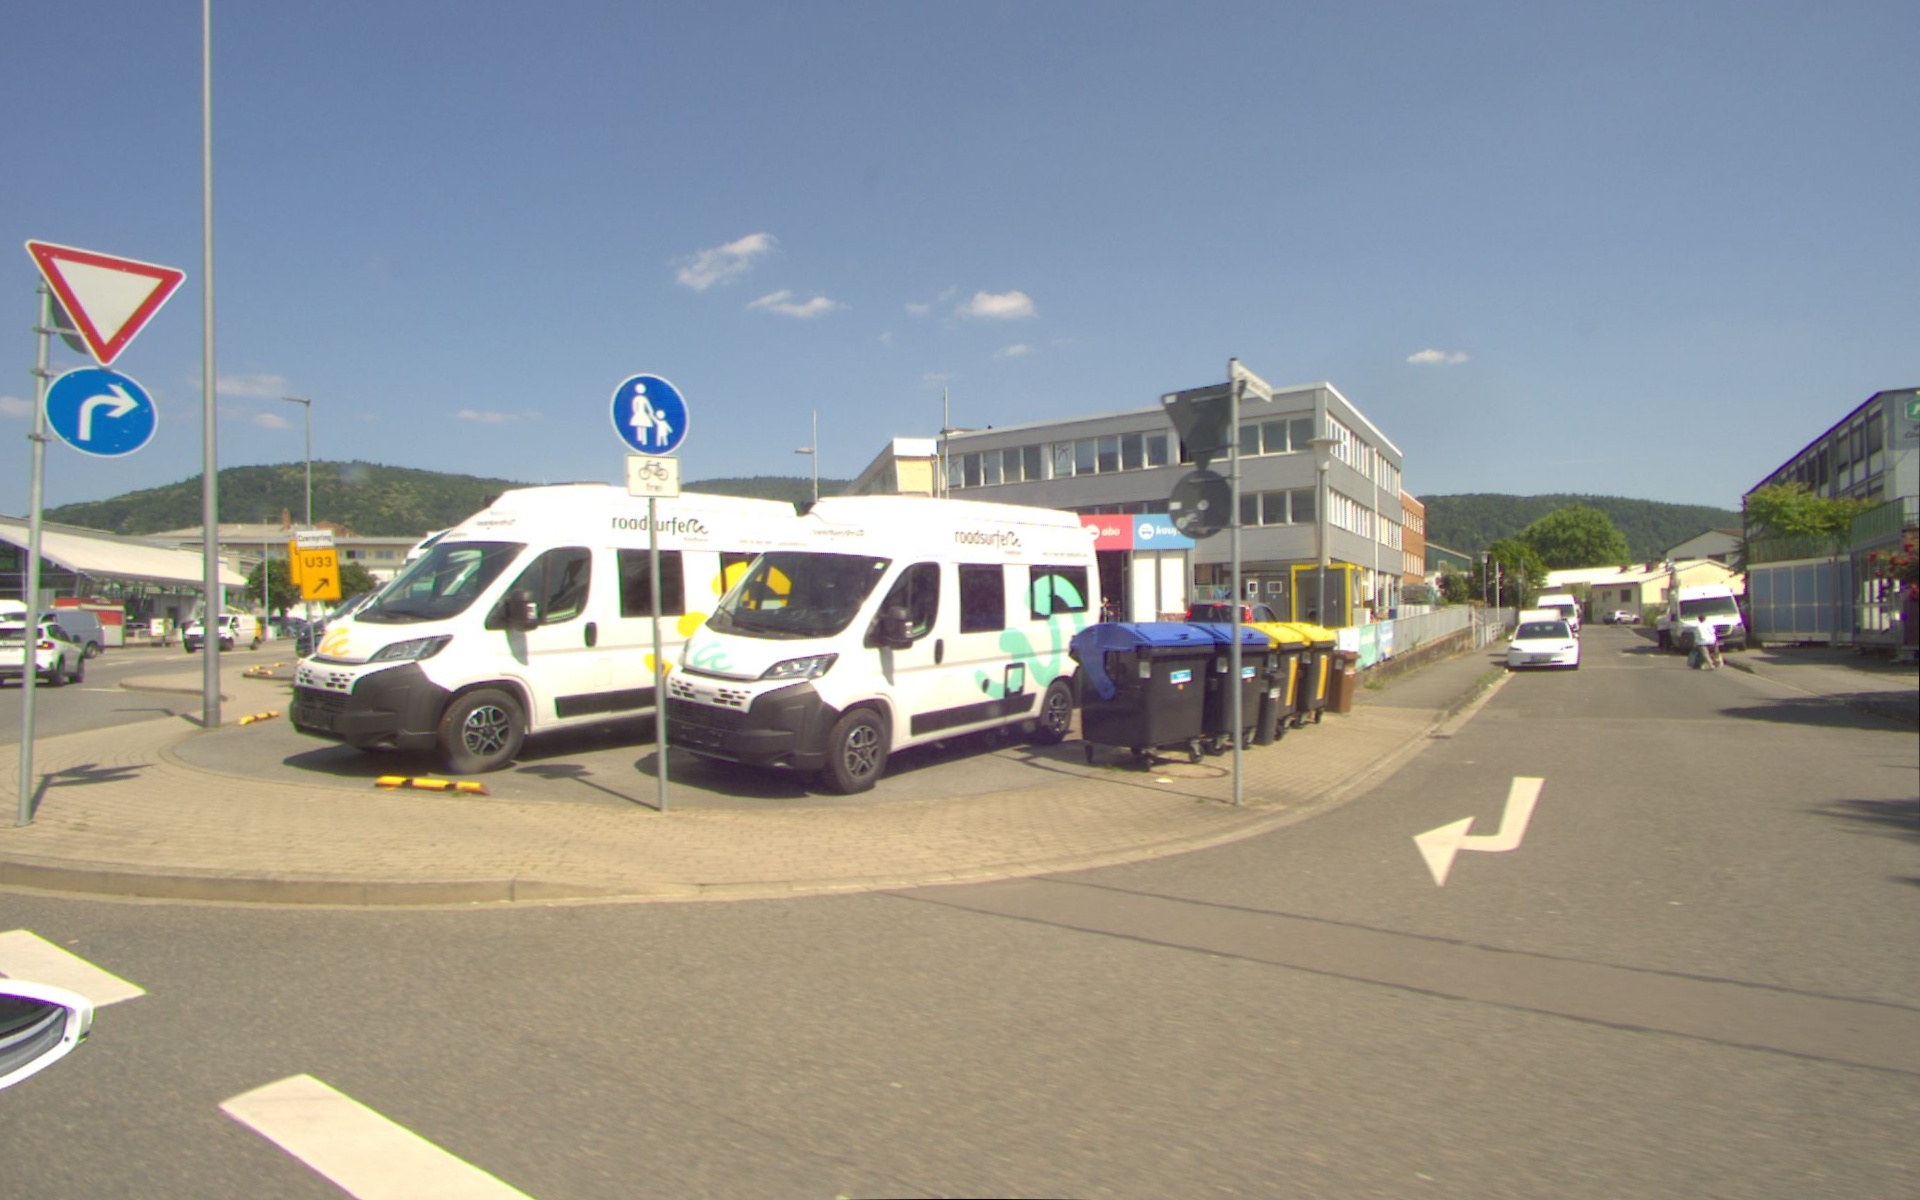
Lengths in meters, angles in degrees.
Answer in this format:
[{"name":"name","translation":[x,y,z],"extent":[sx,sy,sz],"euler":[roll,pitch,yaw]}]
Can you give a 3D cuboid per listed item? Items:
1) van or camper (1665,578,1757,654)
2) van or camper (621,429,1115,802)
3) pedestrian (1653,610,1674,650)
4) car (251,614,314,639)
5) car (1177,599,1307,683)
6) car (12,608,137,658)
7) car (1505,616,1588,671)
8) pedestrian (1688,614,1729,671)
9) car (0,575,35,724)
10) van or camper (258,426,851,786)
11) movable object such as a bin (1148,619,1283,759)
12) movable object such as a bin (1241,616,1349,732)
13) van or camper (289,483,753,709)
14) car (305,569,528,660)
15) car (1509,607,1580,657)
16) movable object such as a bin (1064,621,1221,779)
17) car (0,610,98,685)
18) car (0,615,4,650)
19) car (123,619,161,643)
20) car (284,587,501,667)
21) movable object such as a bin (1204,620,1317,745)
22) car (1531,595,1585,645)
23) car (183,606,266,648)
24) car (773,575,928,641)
[{"name":"van or camper","translation":[29.240,0.657,39.209],"extent":[2.313,2.714,6.708],"euler":[-1,-1,32]},{"name":"van or camper","translation":[-0.566,0.160,10.493],"extent":[2.020,2.851,5.491],"euler":[2,0,35]},{"name":"pedestrian","translation":[30.424,1.300,43.327],"extent":[0.699,1.709,0.650],"euler":[0,0,32]},{"name":"car","translation":[-55.475,2.157,82.067],"extent":[4.237,2.040,1.988],"euler":[1,-1,-34]},{"name":"car","translation":[6.007,0.794,21.047],"extent":[1.788,1.535,3.880],"euler":[2,1,28]},{"name":"car","translation":[-36.641,1.342,41.607],"extent":[1.898,1.960,4.823],"euler":[0,-1,-14]},{"name":"car","translation":[17.990,1.280,30.633],"extent":[1.868,1.572,3.976],"euler":[-1,-1,35]},{"name":"pedestrian","translation":[21.322,1.191,28.542],"extent":[0.871,1.599,0.786],"euler":[0,-1,32]},{"name":"car","translation":[-14.103,0.638,11.743],"extent":[2.127,2.039,5.018],"euler":[0,-1,-4]},{"name":"van or camper","translation":[-3.830,0.060,10.806],"extent":[2.062,2.811,5.795],"euler":[0,0,34]},{"name":"movable object such as a bin","translation":[2.961,0.973,11.579],"extent":[1.008,1.476,1.279],"euler":[2,1,42]},{"name":"movable object such as a bin","translation":[4.860,1.024,14.505],"extent":[1.051,1.552,1.324],"euler":[2,1,39]},{"name":"van or camper","translation":[-6.830,-0.077,16.859],"extent":[2.301,2.985,7.047],"euler":[-1,0,31]},{"name":"car","translation":[-17.862,0.452,33.242],"extent":[2.279,2.753,6.110],"euler":[-1,0,39]},{"name":"car","translation":[22.221,1.187,37.975],"extent":[1.974,1.761,4.272],"euler":[-1,-1,35]},{"name":"movable object such as a bin","translation":[1.905,0.975,10.419],"extent":[1.067,1.476,1.246],"euler":[2,1,44]},{"name":"car","translation":[-23.658,1.155,25.532],"extent":[1.974,1.755,4.535],"euler":[0,-1,-34]},{"name":"car","translation":[-44.740,1.473,44.213],"extent":[1.964,1.639,3.994],"euler":[0,0,-15]},{"name":"car","translation":[-56.828,2.144,69.595],"extent":[1.728,1.605,3.637],"euler":[0,-1,-34]},{"name":"car","translation":[-16.520,0.777,29.444],"extent":[2.071,2.141,5.192],"euler":[-1,-1,38]},{"name":"movable object such as a bin","translation":[3.945,1.032,13.118],"extent":[1.007,1.495,1.230],"euler":[2,1,39]},{"name":"car","translation":[32.545,1.110,54.450],"extent":[2.083,2.559,5.572],"euler":[-1,-1,35]},{"name":"car","translation":[-38.662,1.380,52.779],"extent":[1.992,2.142,4.924],"euler":[1,-1,-17]},{"name":"car","translation":[-3.594,0.316,33.983],"extent":[2.110,2.040,5.434],"euler":[-1,-1,37]}]
